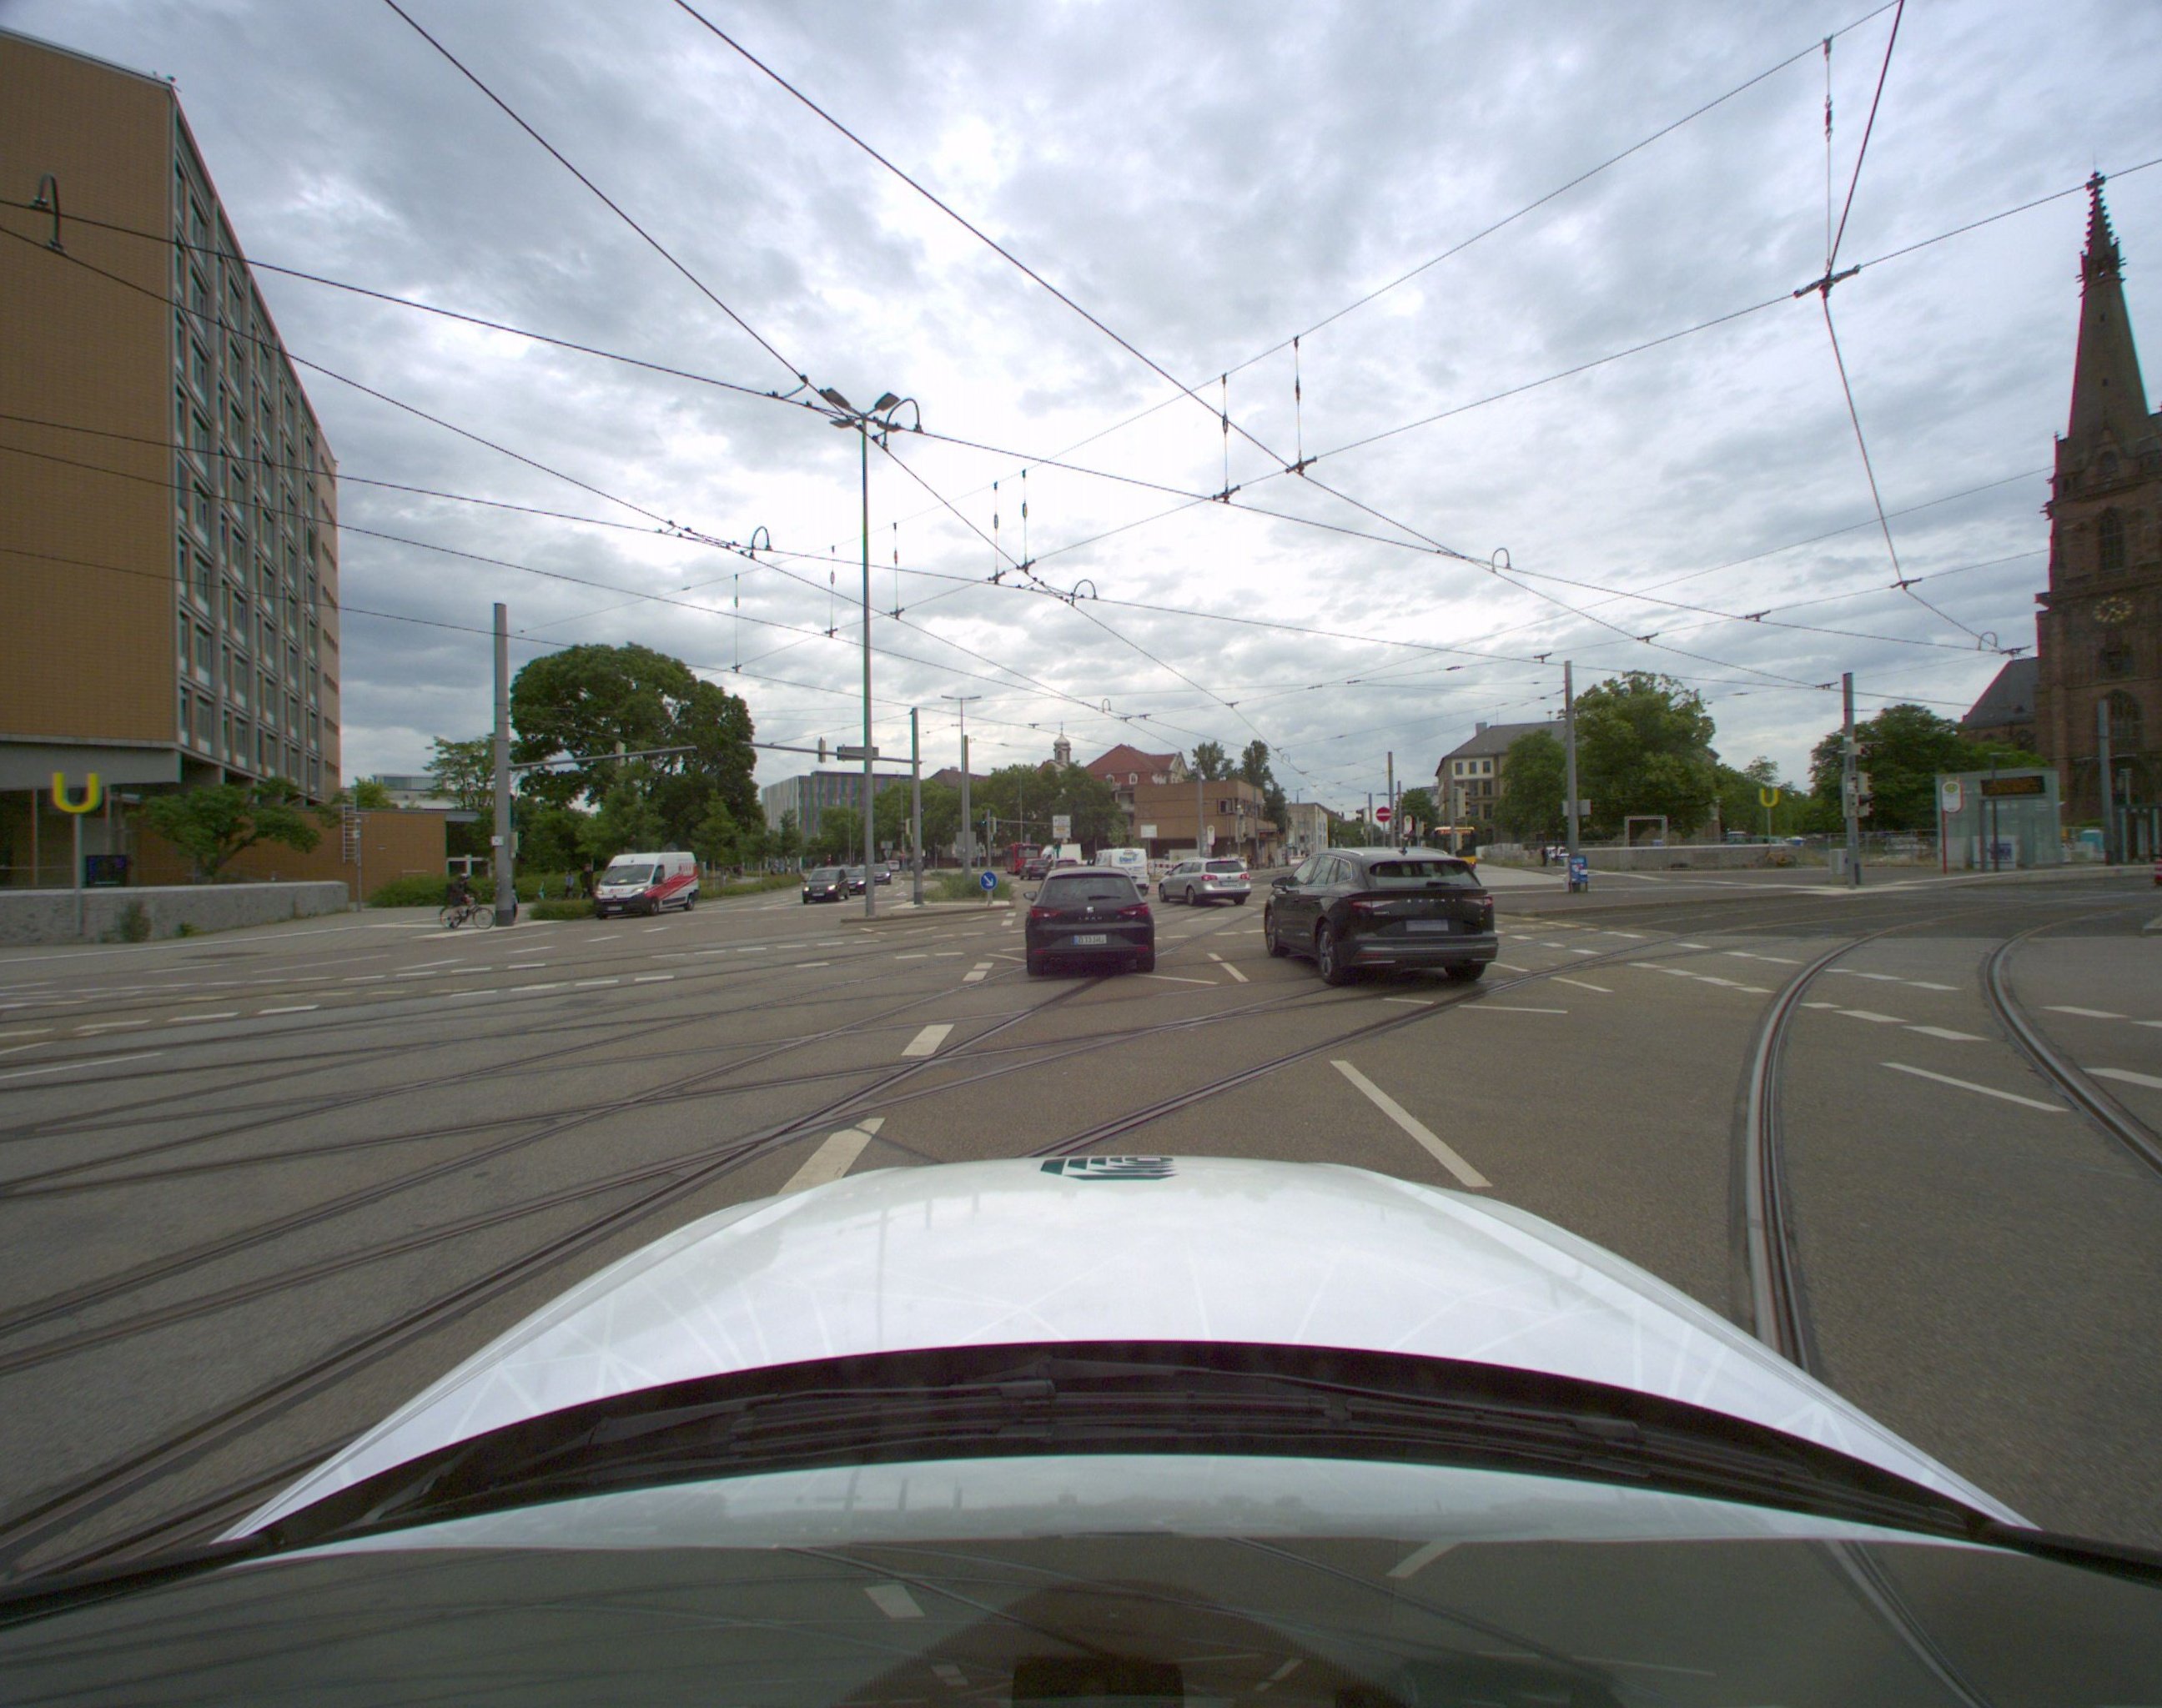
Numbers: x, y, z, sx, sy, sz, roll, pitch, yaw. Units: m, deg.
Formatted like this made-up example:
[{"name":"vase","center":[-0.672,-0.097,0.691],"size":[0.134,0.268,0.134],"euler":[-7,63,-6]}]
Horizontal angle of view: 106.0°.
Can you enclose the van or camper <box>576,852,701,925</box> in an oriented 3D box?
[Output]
[{"name":"van or camper","center":[-17.282,1.251,32.233],"size":[2.276,2.527,5.562],"euler":[-3,0,-6]}]

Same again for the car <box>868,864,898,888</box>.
[{"name":"car","center":[-15.562,1.666,64.111],"size":[1.871,1.725,4.696],"euler":[-3,0,-10]}]

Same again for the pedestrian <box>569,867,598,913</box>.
[{"name":"pedestrian","center":[-22.008,1.578,36.034],"size":[0.817,1.980,0.657],"euler":[-2,0,-4]}]

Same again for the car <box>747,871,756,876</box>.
[{"name":"car","center":[-84.906,4.928,209.918],"size":[1.723,1.265,3.305],"euler":[-1,-1,-33]}]

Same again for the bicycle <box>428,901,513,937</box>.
[{"name":"bicycle","center":[-19.630,2.086,26.213],"size":[2.106,1.028,0.795],"euler":[-1,2,0]}]

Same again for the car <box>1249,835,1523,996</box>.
[{"name":"car","center":[3.715,0.663,10.935],"size":[1.898,1.658,4.512],"euler":[-2,0,-1]}]

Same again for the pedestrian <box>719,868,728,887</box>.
[{"name":"pedestrian","center":[-30.264,1.982,68.971],"size":[0.562,1.541,0.752],"euler":[-1,-1,-13]}]

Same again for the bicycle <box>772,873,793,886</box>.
[{"name":"bicycle","center":[-27.744,2.356,75.765],"size":[0.782,1.159,1.916],"euler":[-2,0,18]}]

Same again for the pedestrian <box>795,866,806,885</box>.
[{"name":"pedestrian","center":[-28.053,2.174,81.416],"size":[0.894,1.842,0.664],"euler":[-2,-1,-12]}]

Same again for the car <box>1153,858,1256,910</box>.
[{"name":"car","center":[3.888,0.910,26.545],"size":[1.722,1.482,4.608],"euler":[-3,0,-13]}]

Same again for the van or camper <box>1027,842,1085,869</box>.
[{"name":"van or camper","center":[-3.323,0.201,109.205],"size":[7.181,3.332,2.846],"euler":[-2,-2,-34]}]

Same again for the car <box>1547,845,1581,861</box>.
[{"name":"car","center":[51.953,-0.093,87.719],"size":[1.897,1.662,4.013],"euler":[-2,-1,11]}]

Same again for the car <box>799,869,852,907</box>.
[{"name":"car","center":[-11.424,1.487,36.600],"size":[1.617,1.515,3.655],"euler":[-3,0,-8]}]

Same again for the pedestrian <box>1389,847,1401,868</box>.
[{"name":"pedestrian","center":[26.656,0.287,69.073],"size":[0.816,1.808,1.027],"euler":[-2,-1,27]}]

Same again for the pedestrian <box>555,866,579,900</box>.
[{"name":"pedestrian","center":[-26.542,1.491,42.071],"size":[0.745,1.733,0.685],"euler":[-2,0,-4]}]

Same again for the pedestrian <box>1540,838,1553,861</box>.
[{"name":"pedestrian","center":[36.438,-0.339,63.758],"size":[0.816,1.808,1.027],"euler":[-2,-1,27]}]

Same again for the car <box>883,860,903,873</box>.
[{"name":"car","center":[-30.392,2.068,131.595],"size":[2.008,2.014,3.958],"euler":[-1,-1,-33]}]

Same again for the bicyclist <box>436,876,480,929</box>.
[{"name":"bicyclist","center":[-20.061,1.545,26.233],"size":[0.810,1.656,0.794],"euler":[0,0,0]}]

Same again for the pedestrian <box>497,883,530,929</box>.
[{"name":"pedestrian","center":[-19.782,1.797,28.403],"size":[0.577,1.551,0.748],"euler":[-2,0,-4]}]

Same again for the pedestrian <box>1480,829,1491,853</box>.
[{"name":"pedestrian","center":[70.017,-2.249,141.031],"size":[1.298,4.253,1.351],"euler":[-2,-1,11]}]

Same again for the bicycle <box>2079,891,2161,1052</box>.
[{"name":"bicycle","center":[7.563,0.804,4.869],"size":[0.622,1.055,2.127],"euler":[-2,0,3]}]

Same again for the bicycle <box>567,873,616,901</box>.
[{"name":"bicycle","center":[-26.648,1.792,44.393],"size":[0.840,1.449,2.264],"euler":[-2,0,16]}]

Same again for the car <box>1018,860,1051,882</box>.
[{"name":"car","center":[-3.716,1.312,63.944],"size":[1.995,1.566,4.188],"euler":[-2,0,-11]}]

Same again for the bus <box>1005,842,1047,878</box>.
[{"name":"bus","center":[-5.757,0.669,82.655],"size":[3.058,3.298,12.338],"euler":[-1,-1,-9]}]

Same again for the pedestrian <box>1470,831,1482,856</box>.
[{"name":"pedestrian","center":[68.575,-1.852,141.278],"size":[1.378,4.253,1.350],"euler":[-2,-1,9]}]

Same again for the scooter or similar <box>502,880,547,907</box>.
[{"name":"scooter or similar","center":[-28.681,2.018,41.968],"size":[1.777,1.302,0.626],"euler":[-2,0,-21]}]

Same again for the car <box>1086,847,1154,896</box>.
[{"name":"car","center":[1.674,0.768,37.032],"size":[1.994,2.019,5.013],"euler":[-2,0,-10]}]

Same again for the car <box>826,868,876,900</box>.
[{"name":"car","center":[-12.327,1.570,43.921],"size":[1.869,1.508,4.466],"euler":[-4,0,-8]}]

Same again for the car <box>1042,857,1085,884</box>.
[{"name":"car","center":[-1.154,1.026,51.545],"size":[1.860,1.600,4.185],"euler":[-2,0,-13]}]

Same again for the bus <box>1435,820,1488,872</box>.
[{"name":"bus","center":[27.137,-0.510,58.605],"size":[2.989,3.268,13.115],"euler":[-2,0,23]}]

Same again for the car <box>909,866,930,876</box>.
[{"name":"car","center":[-24.152,2.538,121.895],"size":[2.004,1.539,3.965],"euler":[-1,-1,-27]}]

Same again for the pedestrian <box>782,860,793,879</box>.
[{"name":"pedestrian","center":[-28.106,1.475,77.983],"size":[0.757,1.842,0.763],"euler":[-3,0,-12]}]

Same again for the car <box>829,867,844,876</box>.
[{"name":"car","center":[-49.730,3.582,165.436],"size":[2.006,1.750,3.961],"euler":[-1,-1,-30]}]

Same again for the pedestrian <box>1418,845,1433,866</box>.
[{"name":"pedestrian","center":[27.743,0.122,65.573],"size":[0.995,1.645,1.027],"euler":[-2,-1,27]}]

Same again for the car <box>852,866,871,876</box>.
[{"name":"car","center":[-40.208,3.111,149.150],"size":[2.009,1.750,3.956],"euler":[-1,-1,-36]}]

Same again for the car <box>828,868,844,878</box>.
[{"name":"car","center":[-46.710,3.623,155.270],"size":[2.007,1.682,3.971],"euler":[-1,-1,-30]}]

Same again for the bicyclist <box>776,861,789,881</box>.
[{"name":"bicyclist","center":[-27.774,1.610,75.765],"size":[0.783,1.844,0.838],"euler":[-2,-1,18]}]

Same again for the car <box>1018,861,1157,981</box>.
[{"name":"car","center":[0.043,0.858,12.262],"size":[1.741,1.464,3.998],"euler":[-1,0,-1]}]
